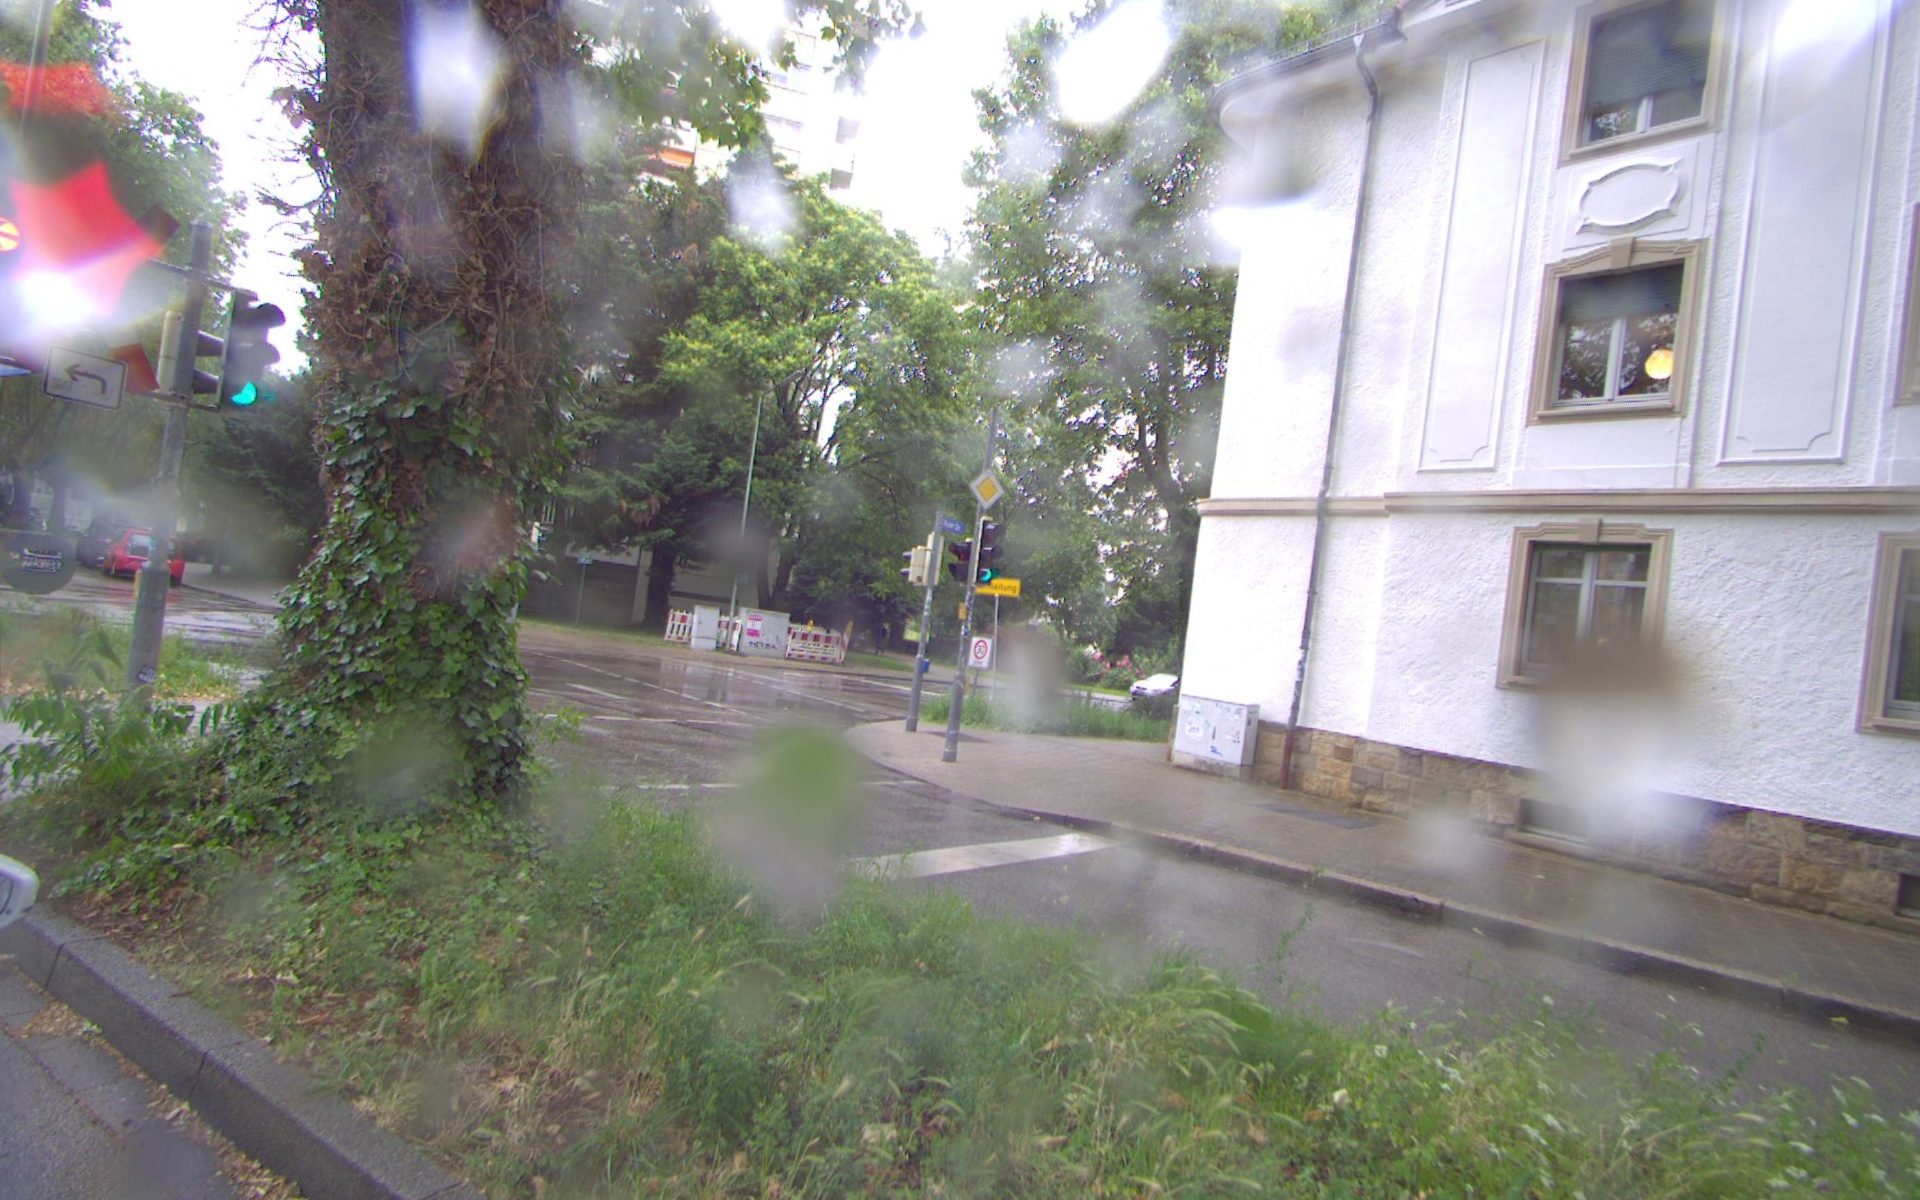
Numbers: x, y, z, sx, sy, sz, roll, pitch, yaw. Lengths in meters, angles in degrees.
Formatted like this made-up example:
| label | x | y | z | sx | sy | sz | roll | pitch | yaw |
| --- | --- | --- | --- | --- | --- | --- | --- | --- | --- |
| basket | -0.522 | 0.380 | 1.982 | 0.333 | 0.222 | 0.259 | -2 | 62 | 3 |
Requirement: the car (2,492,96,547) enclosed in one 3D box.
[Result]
| label | x | y | z | sx | sy | sz | roll | pitch | yaw |
| --- | --- | --- | --- | --- | --- | --- | --- | --- | --- |
| car | -61.108 | -5.390 | 67.531 | 4.680 | 2.982 | 2.043 | 7 | -1 | 12 |

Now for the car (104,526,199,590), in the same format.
| label | x | y | z | sx | sy | sz | roll | pitch | yaw |
| --- | --- | --- | --- | --- | --- | --- | --- | --- | --- |
| car | -24.826 | -1.306 | 30.844 | 1.788 | 1.515 | 3.950 | 10 | -2 | -44 |

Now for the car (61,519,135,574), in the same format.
| label | x | y | z | sx | sy | sz | roll | pitch | yaw |
| --- | --- | --- | --- | --- | --- | --- | --- | --- | --- |
| car | -32.978 | -2.076 | 38.455 | 1.779 | 1.747 | 3.951 | 9 | -2 | -44 |

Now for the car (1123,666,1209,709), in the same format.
| label | x | y | z | sx | sy | sz | roll | pitch | yaw |
| --- | --- | --- | --- | --- | --- | --- | --- | --- | --- |
| car | 9.415 | 4.002 | 45.808 | 1.829 | 1.473 | 3.979 | 6 | -3 | 45 |

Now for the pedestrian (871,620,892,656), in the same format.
| label | x | y | z | sx | sy | sz | roll | pitch | yaw |
| --- | --- | --- | --- | --- | --- | --- | --- | --- | --- |
| pedestrian | -4.266 | 2.054 | 54.701 | 0.675 | 1.863 | 0.707 | 8 | -1 | -44 |

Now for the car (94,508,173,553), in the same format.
| label | x | y | z | sx | sy | sz | roll | pitch | yaw |
| --- | --- | --- | --- | --- | --- | --- | --- | --- | --- |
| car | -69.646 | -5.840 | 84.812 | 4.683 | 2.982 | 2.001 | 7 | -1 | 1 |

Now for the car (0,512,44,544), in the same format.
| label | x | y | z | sx | sy | sz | roll | pitch | yaw |
| --- | --- | --- | --- | --- | --- | --- | --- | --- | --- |
| car | -56.201 | -4.375 | 58.628 | 1.974 | 1.565 | 3.980 | 6 | -3 | 44 |

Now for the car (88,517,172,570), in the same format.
| label | x | y | z | sx | sy | sz | roll | pitch | yaw |
| --- | --- | --- | --- | --- | --- | --- | --- | --- | --- |
| car | -28.093 | -1.935 | 34.001 | 1.780 | 1.363 | 3.879 | 10 | -2 | -44 |
